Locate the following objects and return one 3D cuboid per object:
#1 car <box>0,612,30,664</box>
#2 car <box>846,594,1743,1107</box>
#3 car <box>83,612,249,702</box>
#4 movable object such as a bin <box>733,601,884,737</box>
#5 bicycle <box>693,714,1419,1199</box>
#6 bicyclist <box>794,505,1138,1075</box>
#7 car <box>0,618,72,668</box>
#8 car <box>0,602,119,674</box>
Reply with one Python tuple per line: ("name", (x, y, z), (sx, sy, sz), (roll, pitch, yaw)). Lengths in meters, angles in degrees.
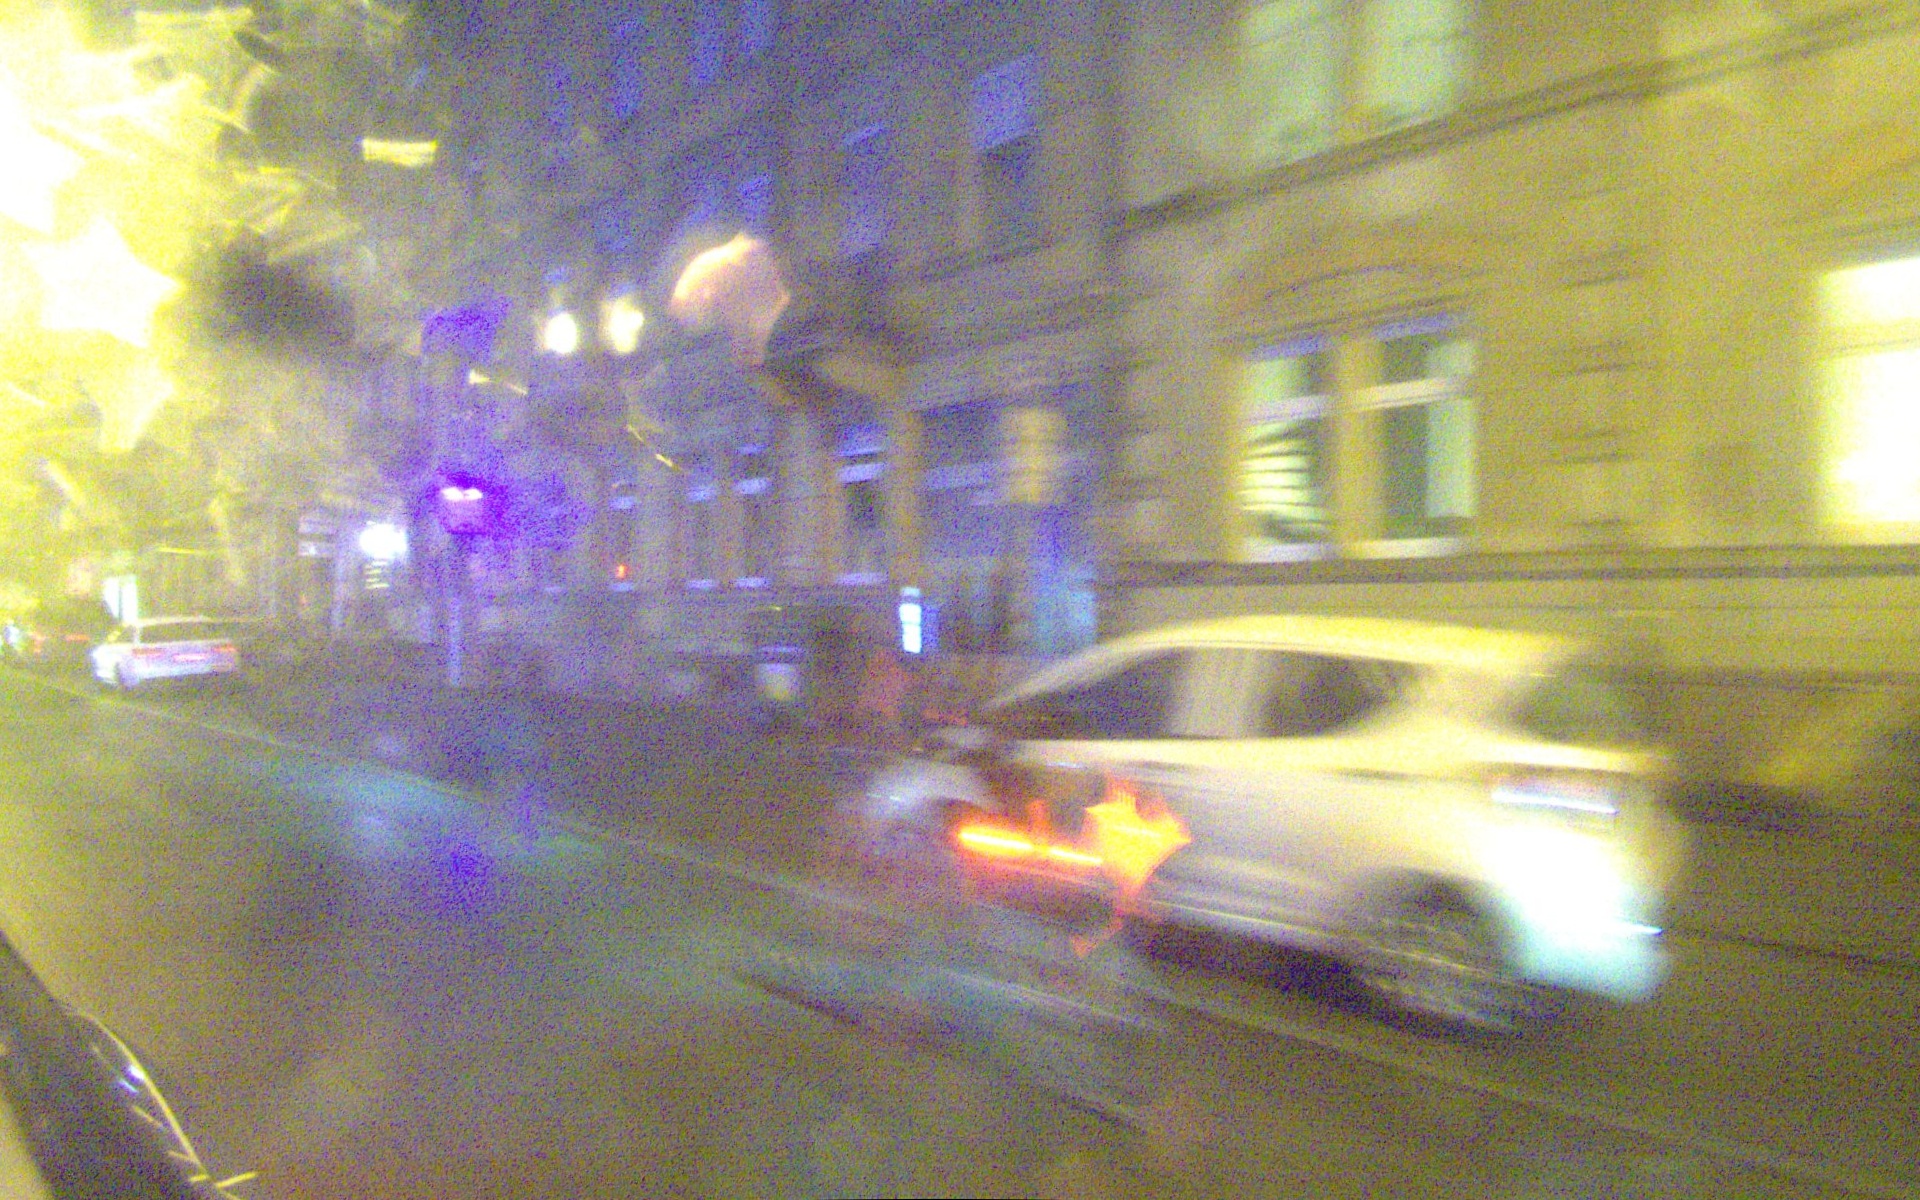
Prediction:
("car", (-36.448, 1.409, 37.914), (4.827, 1.843, 1.882), (-1, -2, 42))
("car", (1.332, 0.758, 4.832), (3.719, 1.502, 1.654), (-1, 0, 41))
("car", (-15.788, 1.053, 20.033), (4.770, 1.494, 1.749), (-1, 1, 42))
("movable object such as a bin", (-1.766, 0.771, 11.800), (1.377, 1.465, 1.090), (-1, -2, 39))
("bicycle", (0.133, 0.999, 3.259), (2.347, 1.081, 0.720), (-1, -3, 41))
("bicyclist", (0.021, 0.536, 3.367), (0.895, 1.568, 0.711), (-1, -3, 41))
("car", (-29.420, 1.330, 32.011), (3.718, 1.471, 1.552), (-1, -2, 42))
("car", (-25.145, 1.020, 28.113), (5.204, 1.843, 1.975), (-1, -2, 42))
